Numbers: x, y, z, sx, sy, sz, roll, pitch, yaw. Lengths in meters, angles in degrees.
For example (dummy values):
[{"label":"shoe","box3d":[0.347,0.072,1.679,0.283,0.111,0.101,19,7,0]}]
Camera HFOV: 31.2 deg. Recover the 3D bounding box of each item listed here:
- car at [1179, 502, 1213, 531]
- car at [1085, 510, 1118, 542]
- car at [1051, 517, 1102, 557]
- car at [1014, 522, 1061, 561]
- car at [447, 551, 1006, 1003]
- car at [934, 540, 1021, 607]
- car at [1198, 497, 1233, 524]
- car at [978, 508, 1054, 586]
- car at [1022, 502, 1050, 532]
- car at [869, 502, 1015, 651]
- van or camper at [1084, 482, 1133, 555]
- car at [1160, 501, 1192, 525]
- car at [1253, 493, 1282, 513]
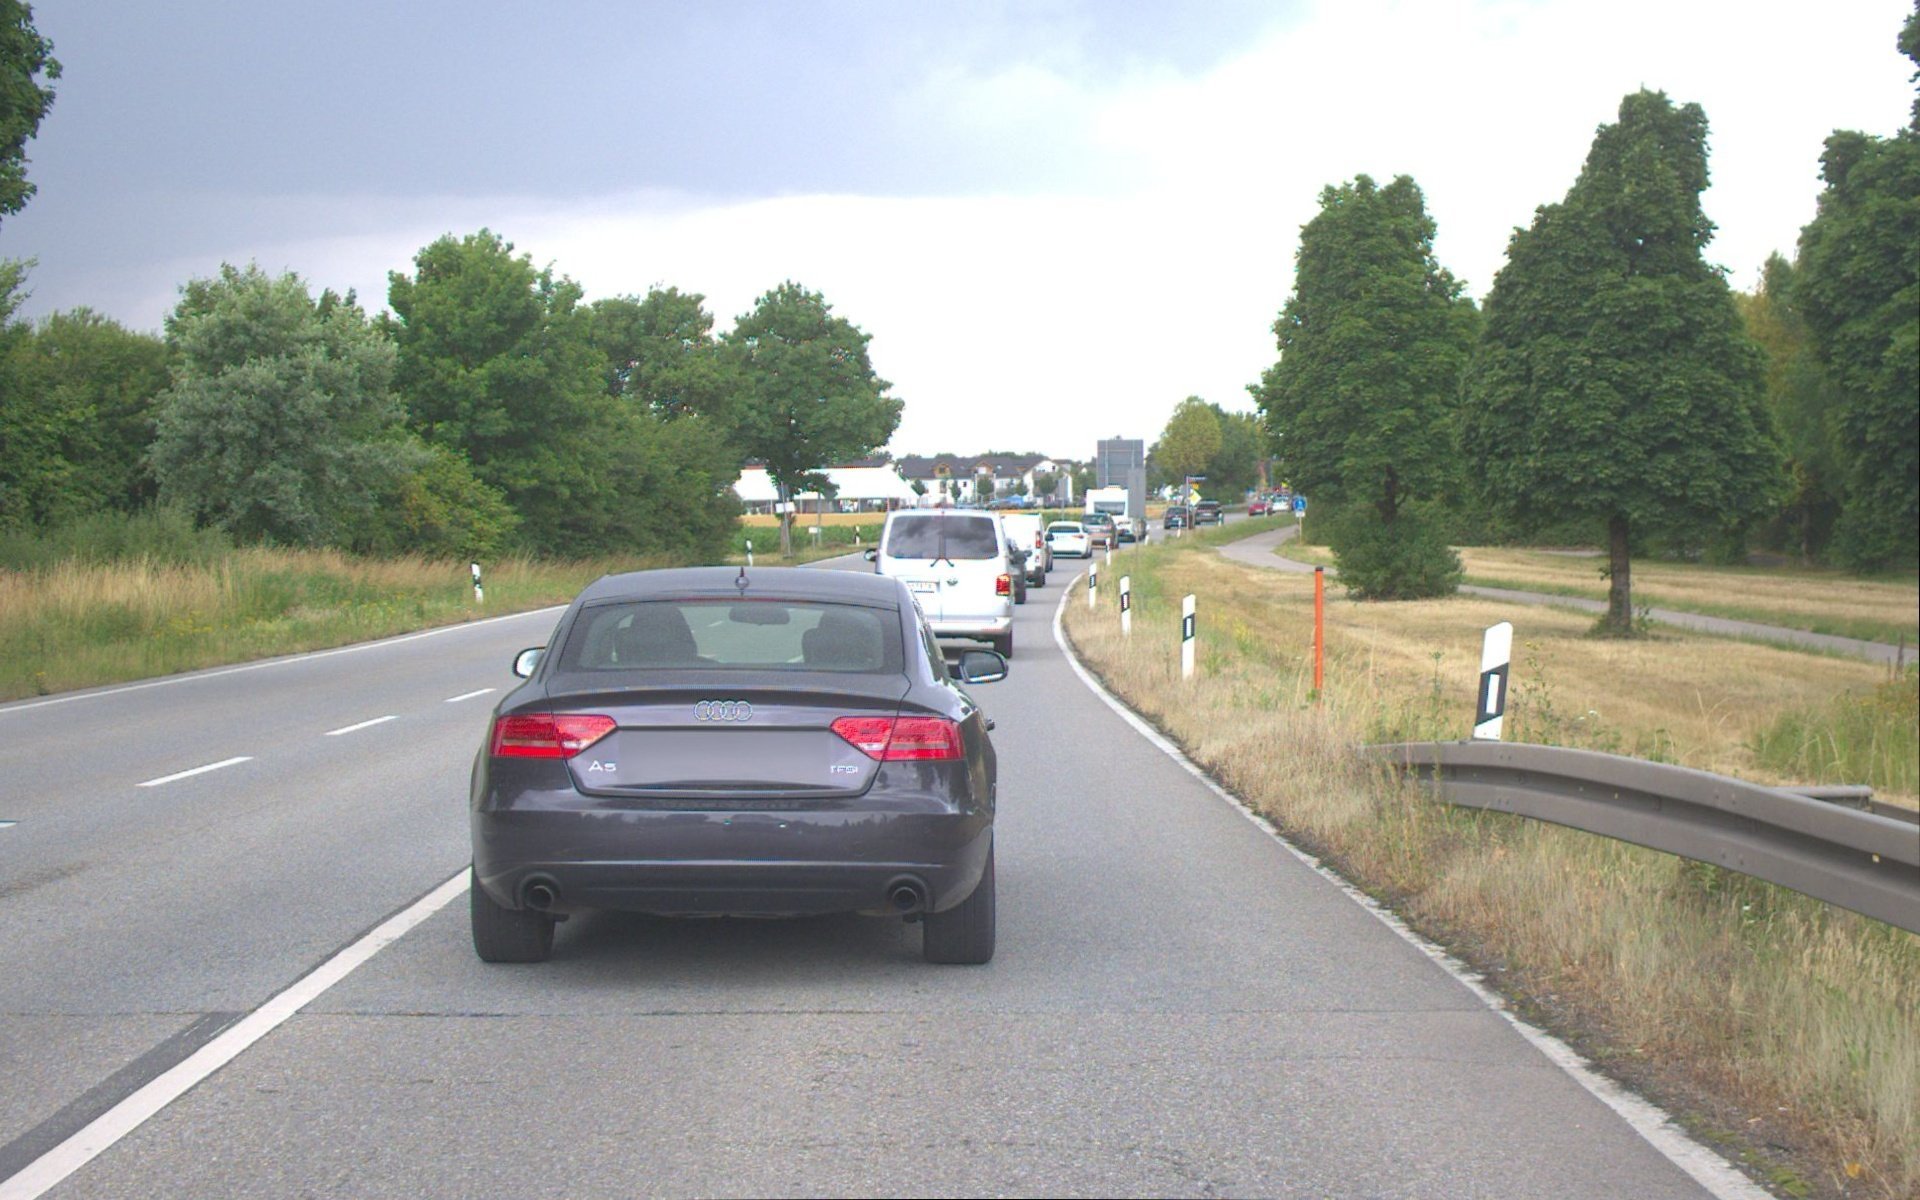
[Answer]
[{"label":"car","box3d":[16.188,-5.718,235.826,1.993,2.007,4.000,0,1,-1]},{"label":"car","box3d":[6.155,-3.224,149.427,1.258,1.349,3.465,0,1,5]},{"label":"car","box3d":[4.478,-2.410,131.982,1.736,1.509,3.746,0,1,5]},{"label":"car","box3d":[2.560,-1.937,113.294,1.535,1.273,3.746,0,1,2]},{"label":"car","box3d":[-0.787,0.543,13.077,1.782,1.372,4.001,1,2,-1]},{"label":"car","box3d":[0.405,-0.610,77.002,1.795,1.459,3.248,0,1,3]},{"label":"car","box3d":[15.719,-5.518,211.662,1.821,1.591,4.000,1,1,0]},{"label":"car","box3d":[1.541,-1.442,92.942,1.993,2.081,4.000,0,1,2]},{"label":"car","box3d":[4.697,-5.101,212.064,1.595,1.796,3.201,1,1,0]},{"label":"car","box3d":[-0.265,-0.356,46.044,1.838,1.876,4.001,1,2,-1]},{"label":"van or camper","box3d":[7.270,-3.988,168.566,2.340,3.469,5.718,0,1,2]},{"label":"car","box3d":[13.407,-5.375,213.502,1.719,1.446,4.000,1,1,0]},{"label":"car","box3d":[23.183,-7.308,259.554,1.821,1.487,4.000,1,1,0]}]
